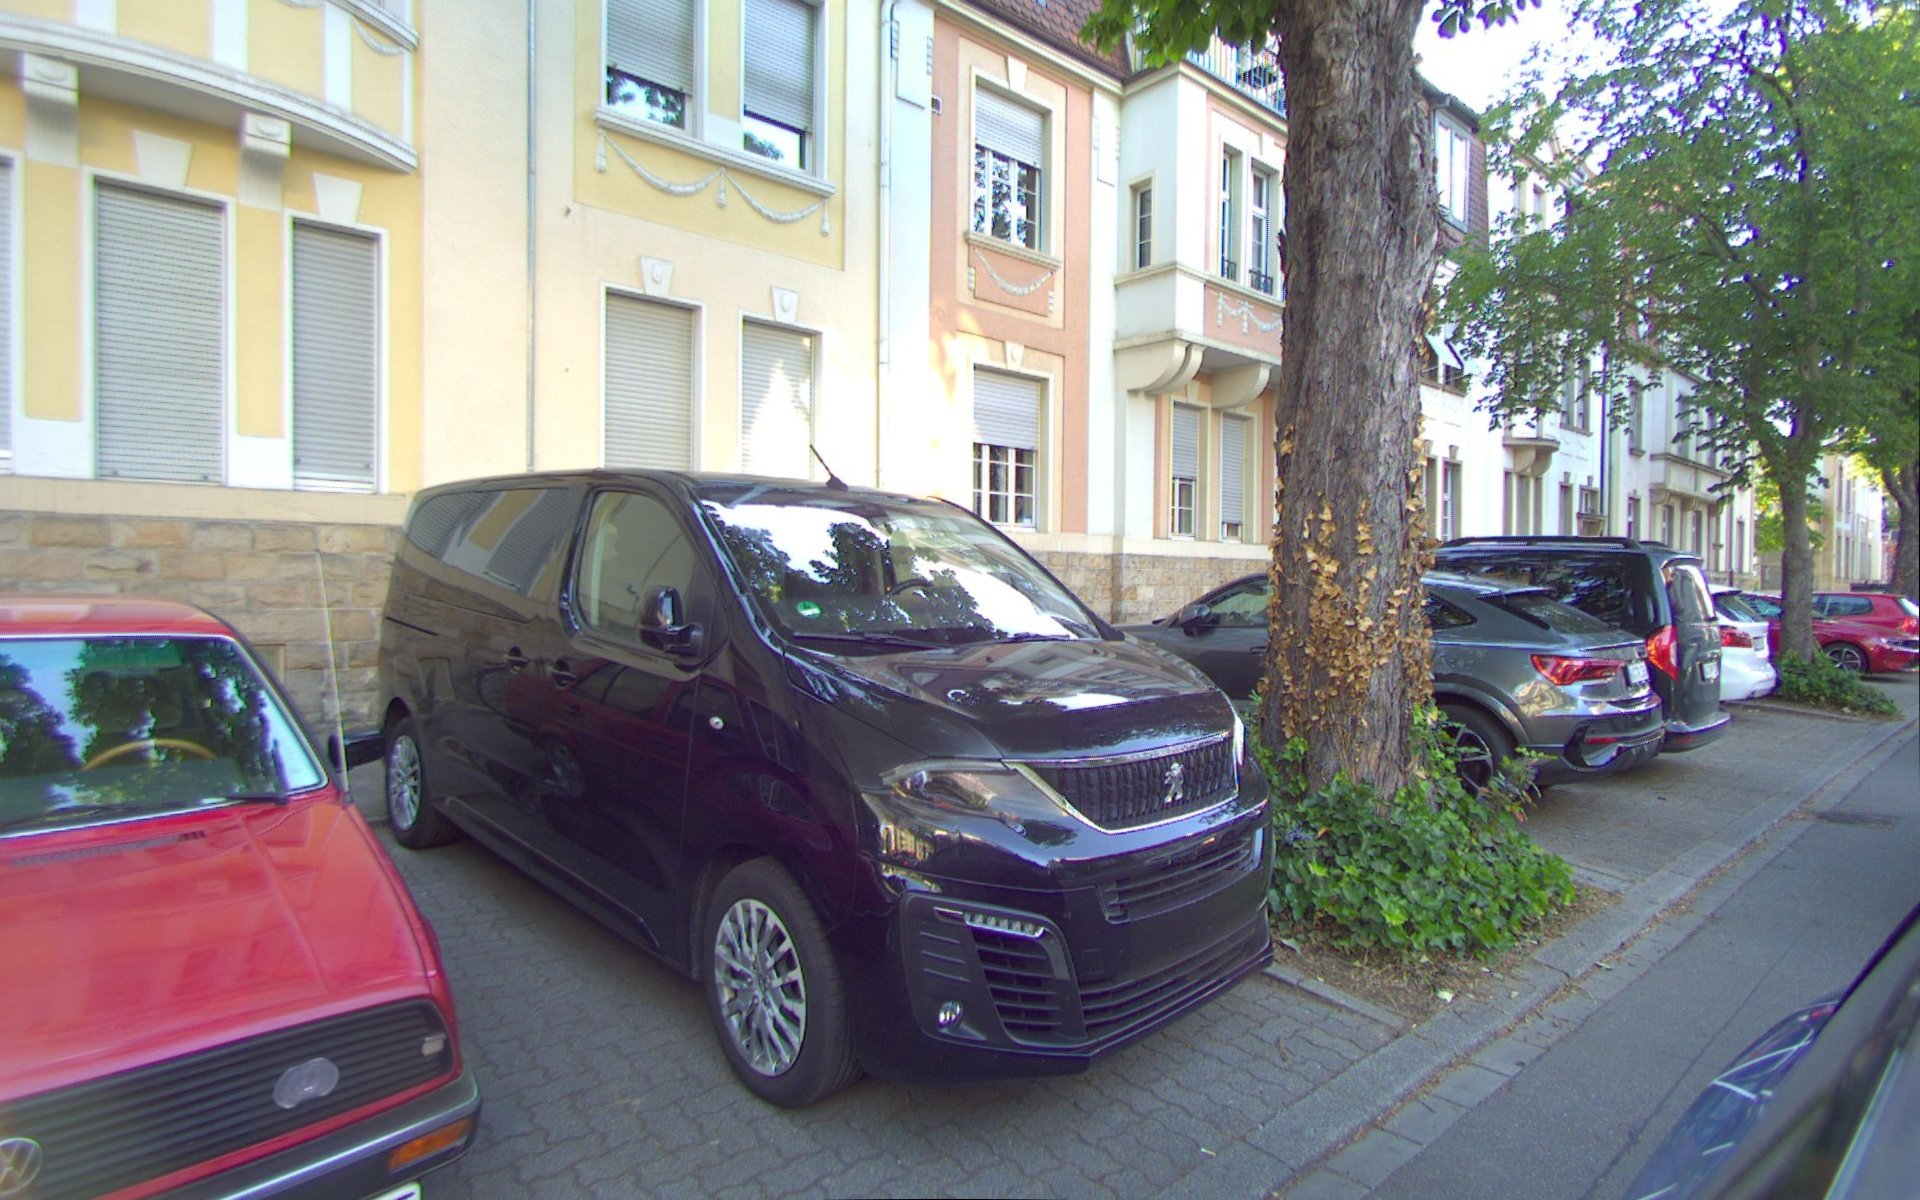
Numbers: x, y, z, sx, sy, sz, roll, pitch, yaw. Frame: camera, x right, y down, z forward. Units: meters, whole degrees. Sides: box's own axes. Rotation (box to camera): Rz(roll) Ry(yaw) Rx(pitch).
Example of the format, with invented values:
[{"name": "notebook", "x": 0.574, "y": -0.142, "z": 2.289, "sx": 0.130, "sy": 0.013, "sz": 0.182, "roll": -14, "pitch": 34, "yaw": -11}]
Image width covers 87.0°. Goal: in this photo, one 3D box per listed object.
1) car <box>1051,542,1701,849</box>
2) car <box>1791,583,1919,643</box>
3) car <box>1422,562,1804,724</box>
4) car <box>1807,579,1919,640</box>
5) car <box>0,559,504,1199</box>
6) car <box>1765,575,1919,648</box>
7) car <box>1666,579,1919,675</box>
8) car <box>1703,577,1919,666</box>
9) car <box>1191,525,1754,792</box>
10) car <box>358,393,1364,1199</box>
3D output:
[{"name": "car", "x": 2.782, "y": 0.419, "z": 7.519, "sx": 1.569, "sy": 1.611, "sz": 4.165, "roll": -1, "pitch": 4, "yaw": -44}, {"name": "car", "x": 23.981, "y": 0.334, "z": 26.154, "sx": 1.511, "sy": 1.420, "sz": 3.621, "roll": 0, "pitch": 3, "yaw": -40}, {"name": "car", "x": 7.763, "y": 0.390, "z": 12.255, "sx": 1.513, "sy": 1.569, "sz": 3.616, "roll": -1, "pitch": 3, "yaw": -45}, {"name": "car", "x": 25.955, "y": 0.252, "z": 27.997, "sx": 1.511, "sy": 1.584, "sz": 3.621, "roll": 0, "pitch": 2, "yaw": -40}, {"name": "car", "x": -2.806, "y": 0.594, "z": 2.968, "sx": 1.532, "sy": 1.336, "sz": 3.917, "roll": -1, "pitch": 4, "yaw": -43}, {"name": "car", "x": 21.626, "y": 0.241, "z": 24.086, "sx": 1.511, "sy": 1.584, "sz": 3.621, "roll": 0, "pitch": 2, "yaw": -40}, {"name": "car", "x": 14.946, "y": 0.404, "z": 18.012, "sx": 1.511, "sy": 1.420, "sz": 3.621, "roll": 0, "pitch": 3, "yaw": -40}, {"name": "car", "x": 16.867, "y": 0.368, "z": 19.664, "sx": 1.511, "sy": 1.482, "sz": 3.621, "roll": 0, "pitch": 3, "yaw": -40}, {"name": "car", "x": 4.298, "y": 0.279, "z": 9.019, "sx": 1.569, "sy": 1.849, "sz": 4.165, "roll": -1, "pitch": 4, "yaw": -44}, {"name": "car", "x": -0.987, "y": 0.342, "z": 4.524, "sx": 1.851, "sy": 1.846, "sz": 4.825, "roll": -1, "pitch": 4, "yaw": -44}]
